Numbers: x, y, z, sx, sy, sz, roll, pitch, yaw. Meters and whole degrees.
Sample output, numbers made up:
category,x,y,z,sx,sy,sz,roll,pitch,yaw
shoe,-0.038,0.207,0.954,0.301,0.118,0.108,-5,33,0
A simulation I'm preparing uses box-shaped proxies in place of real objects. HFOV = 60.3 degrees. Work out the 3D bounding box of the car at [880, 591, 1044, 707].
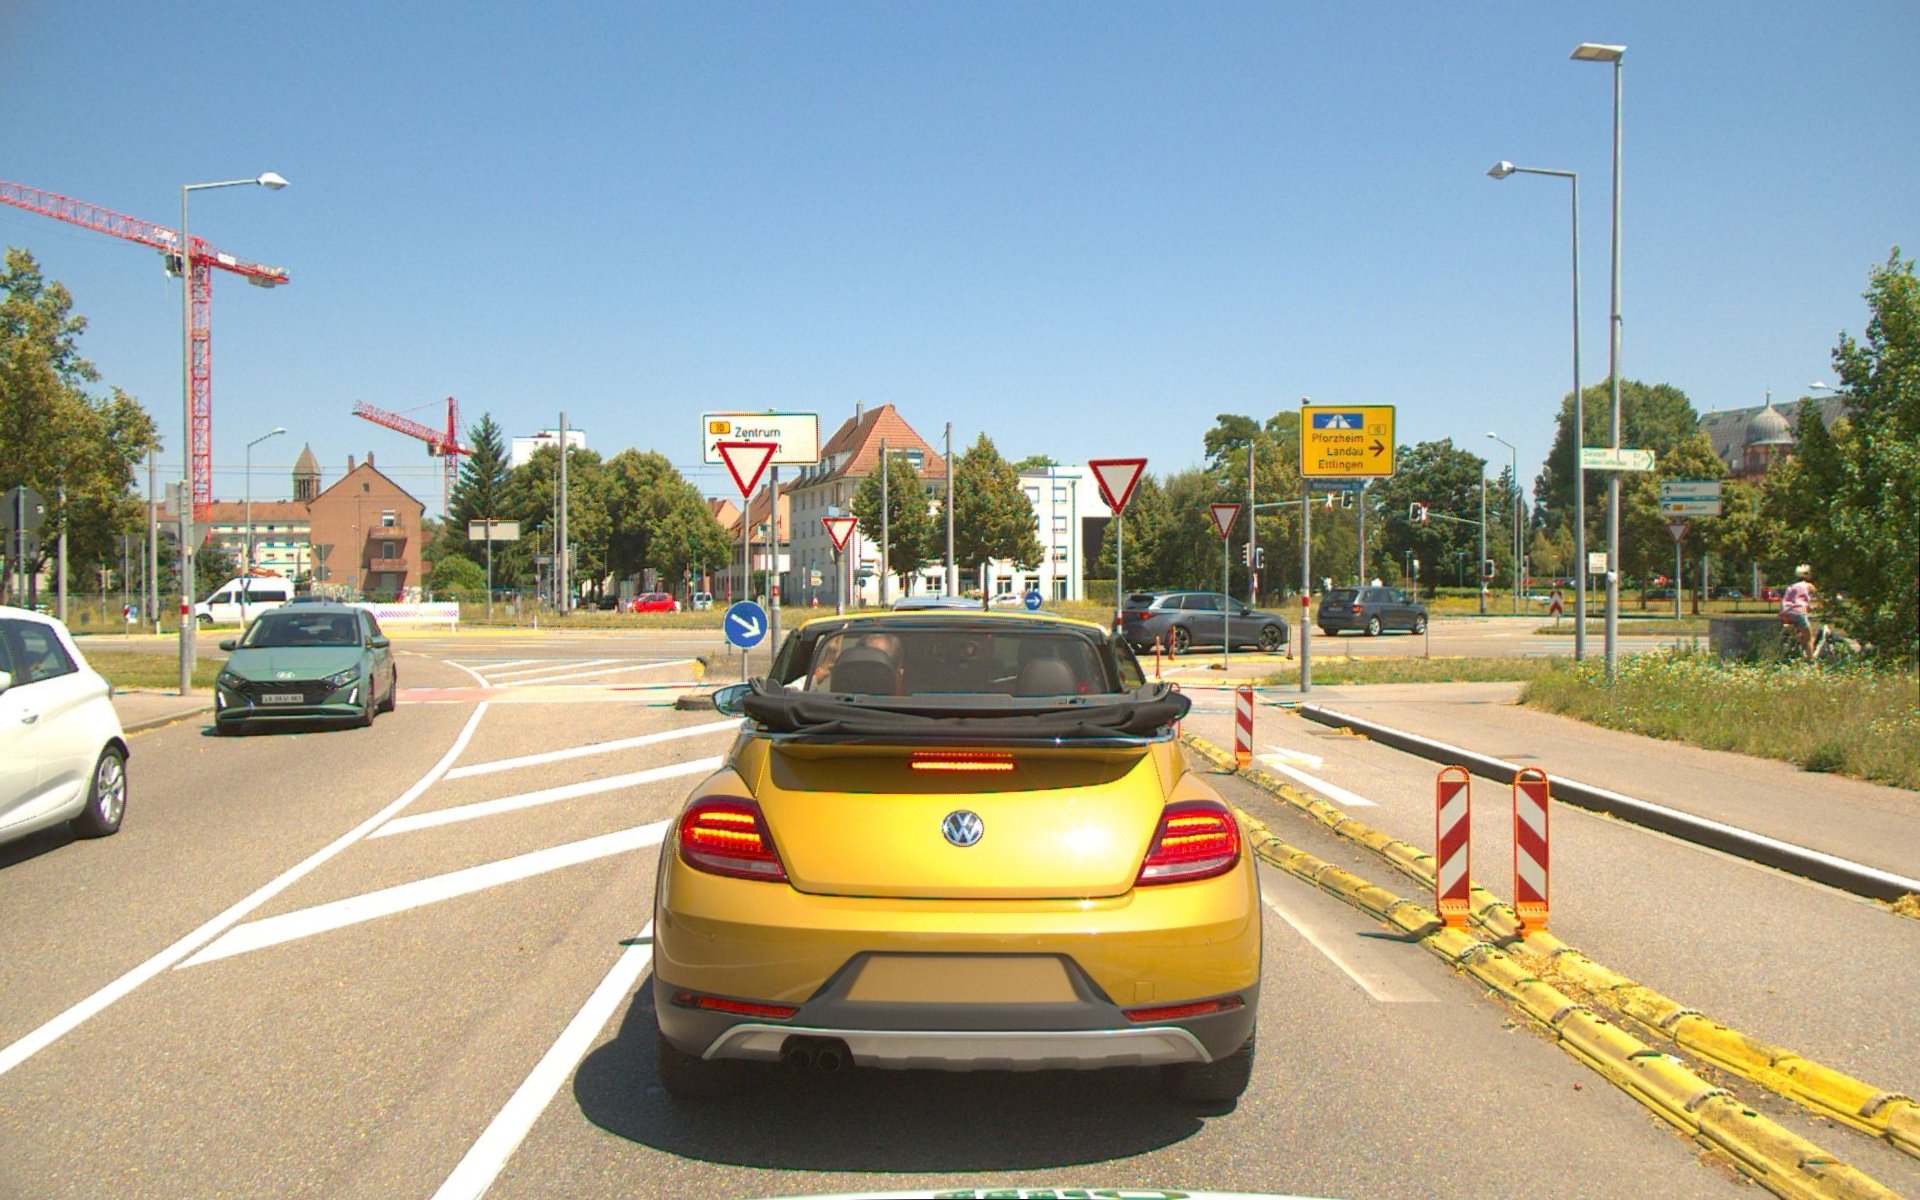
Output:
category,x,y,z,sx,sy,sz,roll,pitch,yaw
car,-0.073,0.619,22.740,2.024,1.406,4.255,1,0,-3

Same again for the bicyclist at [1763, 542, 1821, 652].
category,x,y,z,sx,sy,sz,roll,pitch,yaw
bicyclist,13.715,-0.057,27.274,0.656,1.783,0.592,-1,1,1

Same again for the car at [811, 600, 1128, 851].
category,x,y,z,sx,sy,sz,roll,pitch,yaw
car,0.026,0.722,11.668,1.814,1.389,4.257,-1,0,-1

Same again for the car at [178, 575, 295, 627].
category,x,y,z,sx,sy,sz,roll,pitch,yaw
car,-35.981,0.067,82.292,5.243,2.439,1.978,1,0,-25

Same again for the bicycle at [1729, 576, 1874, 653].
category,x,y,z,sx,sy,sz,roll,pitch,yaw
bicycle,13.880,0.235,27.299,2.048,1.242,0.634,-1,0,1

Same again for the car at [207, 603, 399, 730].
category,x,y,z,sx,sy,sz,roll,pitch,yaw
car,-8.265,0.762,21.141,1.717,1.395,4.315,-1,0,-14

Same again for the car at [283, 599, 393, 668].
category,x,y,z,sx,sy,sz,roll,pitch,yaw
car,-13.921,0.714,36.899,1.708,1.427,4.230,1,0,-29

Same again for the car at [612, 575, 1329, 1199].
category,x,y,z,sx,sy,sz,roll,pitch,yaw
car,0.001,0.715,6.169,1.729,1.507,4.257,1,0,-1

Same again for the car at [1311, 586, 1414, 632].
category,x,y,z,sx,sy,sz,roll,pitch,yaw
car,11.817,0.266,48.498,3.190,1.281,1.417,1,0,-42

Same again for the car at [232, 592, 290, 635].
category,x,y,z,sx,sy,sz,roll,pitch,yaw
car,-29.512,0.570,69.920,1.721,1.736,3.982,1,0,-16

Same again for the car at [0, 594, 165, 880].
category,x,y,z,sx,sy,sz,roll,pitch,yaw
car,-6.165,0.755,9.430,1.741,1.554,3.867,-1,0,-7

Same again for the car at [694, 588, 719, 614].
category,x,y,z,sx,sy,sz,roll,pitch,yaw
car,-20.998,0.091,137.127,1.950,2.107,5.318,1,0,-8

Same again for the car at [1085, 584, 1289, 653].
category,x,y,z,sx,sy,sz,roll,pitch,yaw
car,5.416,0.411,39.440,4.474,1.507,2.054,-1,0,-27

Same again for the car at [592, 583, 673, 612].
category,x,y,z,sx,sy,sz,roll,pitch,yaw
car,-19.439,-0.146,98.220,4.291,1.683,1.880,1,0,-33
